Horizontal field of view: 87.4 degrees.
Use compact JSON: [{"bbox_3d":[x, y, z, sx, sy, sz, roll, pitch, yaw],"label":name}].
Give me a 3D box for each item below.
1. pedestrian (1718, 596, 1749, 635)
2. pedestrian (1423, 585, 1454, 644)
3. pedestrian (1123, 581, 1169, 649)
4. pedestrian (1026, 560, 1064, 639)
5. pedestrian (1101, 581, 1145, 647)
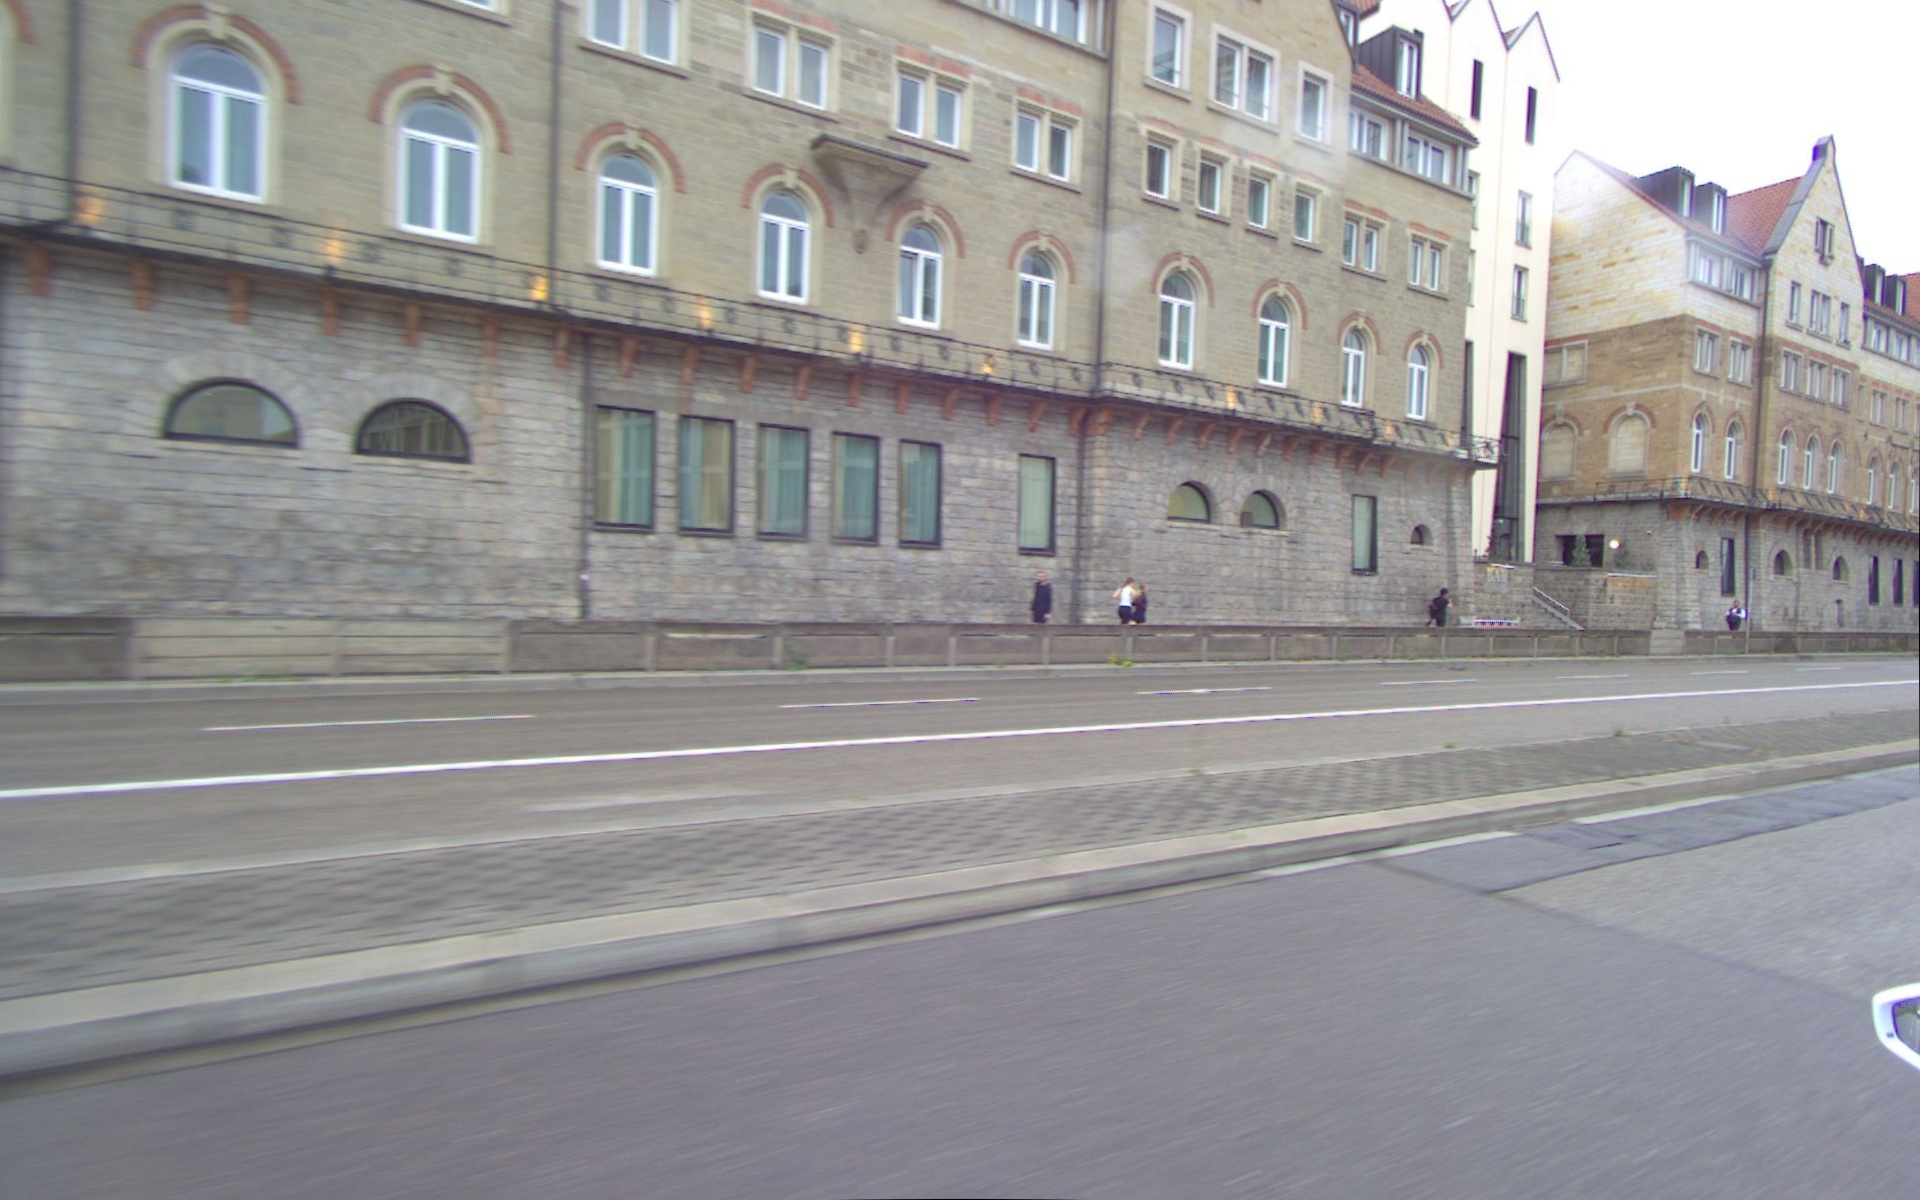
[{"bbox_3d":[30.379,0.585,39.471,0.706,1.498,0.750,-1,1,-31],"label":"pedestrian"},{"bbox_3d":[14.570,0.442,30.608,0.614,1.769,0.636,-1,1,-34],"label":"pedestrian"},{"bbox_3d":[4.174,0.330,22.572,0.706,1.498,0.750,-1,1,-31],"label":"pedestrian"},{"bbox_3d":[1.925,-0.023,22.872,0.614,1.769,0.637,-1,1,-32],"label":"pedestrian"},{"bbox_3d":[3.768,0.306,23.282,0.706,1.498,0.750,-1,1,-31],"label":"pedestrian"}]
